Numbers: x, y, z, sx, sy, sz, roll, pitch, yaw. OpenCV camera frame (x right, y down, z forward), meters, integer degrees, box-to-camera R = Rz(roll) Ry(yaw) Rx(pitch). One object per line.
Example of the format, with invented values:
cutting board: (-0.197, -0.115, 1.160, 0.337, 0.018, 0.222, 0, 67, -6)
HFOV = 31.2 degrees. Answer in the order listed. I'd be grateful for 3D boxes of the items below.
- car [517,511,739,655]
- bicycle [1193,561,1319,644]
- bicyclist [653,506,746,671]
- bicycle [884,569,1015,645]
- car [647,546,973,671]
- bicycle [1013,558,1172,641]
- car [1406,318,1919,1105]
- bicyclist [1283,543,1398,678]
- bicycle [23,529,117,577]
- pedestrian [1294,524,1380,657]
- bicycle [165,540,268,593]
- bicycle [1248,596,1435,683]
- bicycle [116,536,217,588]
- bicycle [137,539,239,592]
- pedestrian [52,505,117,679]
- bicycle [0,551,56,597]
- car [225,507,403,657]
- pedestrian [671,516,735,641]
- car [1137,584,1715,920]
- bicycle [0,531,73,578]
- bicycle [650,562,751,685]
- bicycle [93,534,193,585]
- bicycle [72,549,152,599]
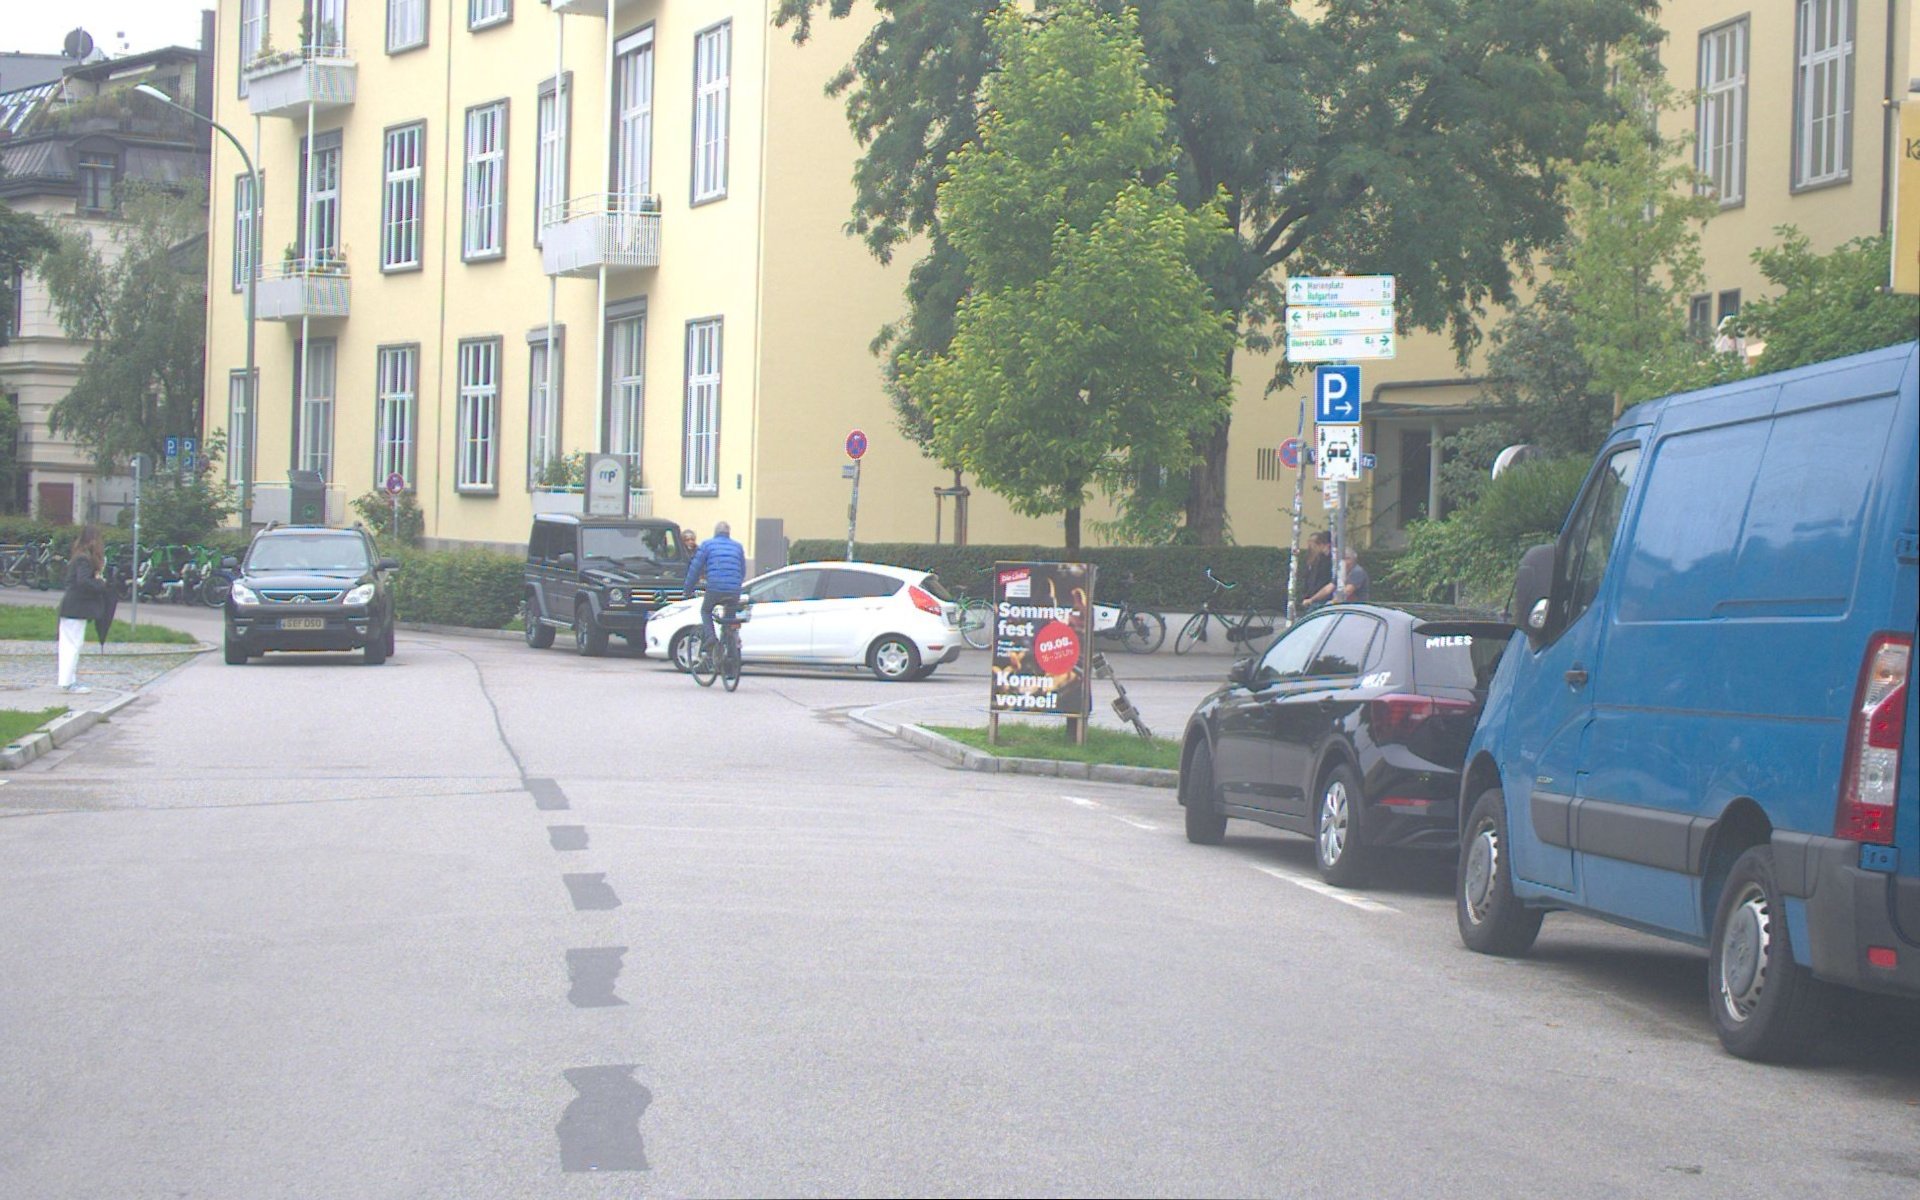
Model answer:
car: (-4.778, -0.283, 48.859, 1.873, 1.881, 4.620, 1, 2, -22)
bicycle: (4.186, 0.036, 48.684, 1.681, 1.126, 0.460, 1, 2, -9)
bicyclist: (-2.864, -0.142, 37.856, 0.914, 1.758, 1.215, 1, 2, -1)
bicycle: (-0.158, 0.099, 49.828, 1.947, 1.081, 0.528, 0, 0, 35)
car: (-1.851, 0.088, 42.821, 3.717, 1.401, 1.752, 2, 2, 12)
bicycle: (1.889, -0.014, 48.851, 2.168, 1.112, 0.640, 2, 2, 8)
car: (3.337, 0.423, 12.304, 2.109, 2.206, 5.029, 6, -1, -6)
bicyclist: (4.645, 0.118, 41.975, 1.046, 1.603, 0.878, 0, 2, -33)
bicycle: (-19.834, -1.036, 76.643, 0.619, 1.025, 1.972, 2, 1, 44)
pedestrian: (5.164, -0.135, 47.149, 0.989, 1.803, 0.660, 1, 1, -9)
bicycle: (-14.896, -0.672, 68.898, 0.619, 1.025, 1.972, 2, 1, 44)
bicycle: (4.664, 0.476, 42.001, 2.183, 1.016, 0.879, 0, 2, -33)
bicycle: (-16.236, -0.779, 70.353, 0.619, 1.025, 1.972, 2, 1, 44)
bicycle: (-15.578, -0.694, 69.421, 0.619, 1.025, 1.972, 2, 1, 44)
pedestrian: (-8.612, -0.087, 33.810, 0.542, 1.691, 0.667, -1, 2, -20)
bicycle: (-21.250, -0.602, 77.855, 0.409, 1.011, 1.534, 2, 3, 41)
car: (-8.168, -0.272, 43.177, 1.993, 1.713, 4.617, 1, 2, -13)
pedestrian: (-3.683, -0.316, 49.178, 0.848, 1.751, 0.954, 1, 2, -7)
car: (2.331, 0.723, 18.294, 1.714, 1.390, 4.001, 5, 1, -12)
bicycle: (-21.157, -1.031, 77.967, 0.619, 1.025, 1.972, 2, 1, 44)
bicycle: (-2.837, 0.236, 37.817, 0.921, 1.248, 2.322, 1, 2, 0)
bicycle: (-16.934, -0.837, 71.259, 0.619, 1.025, 1.972, 2, 1, 44)
bicycle: (-17.937, -0.550, 72.761, 0.532, 1.025, 1.975, 2, 1, 24)
